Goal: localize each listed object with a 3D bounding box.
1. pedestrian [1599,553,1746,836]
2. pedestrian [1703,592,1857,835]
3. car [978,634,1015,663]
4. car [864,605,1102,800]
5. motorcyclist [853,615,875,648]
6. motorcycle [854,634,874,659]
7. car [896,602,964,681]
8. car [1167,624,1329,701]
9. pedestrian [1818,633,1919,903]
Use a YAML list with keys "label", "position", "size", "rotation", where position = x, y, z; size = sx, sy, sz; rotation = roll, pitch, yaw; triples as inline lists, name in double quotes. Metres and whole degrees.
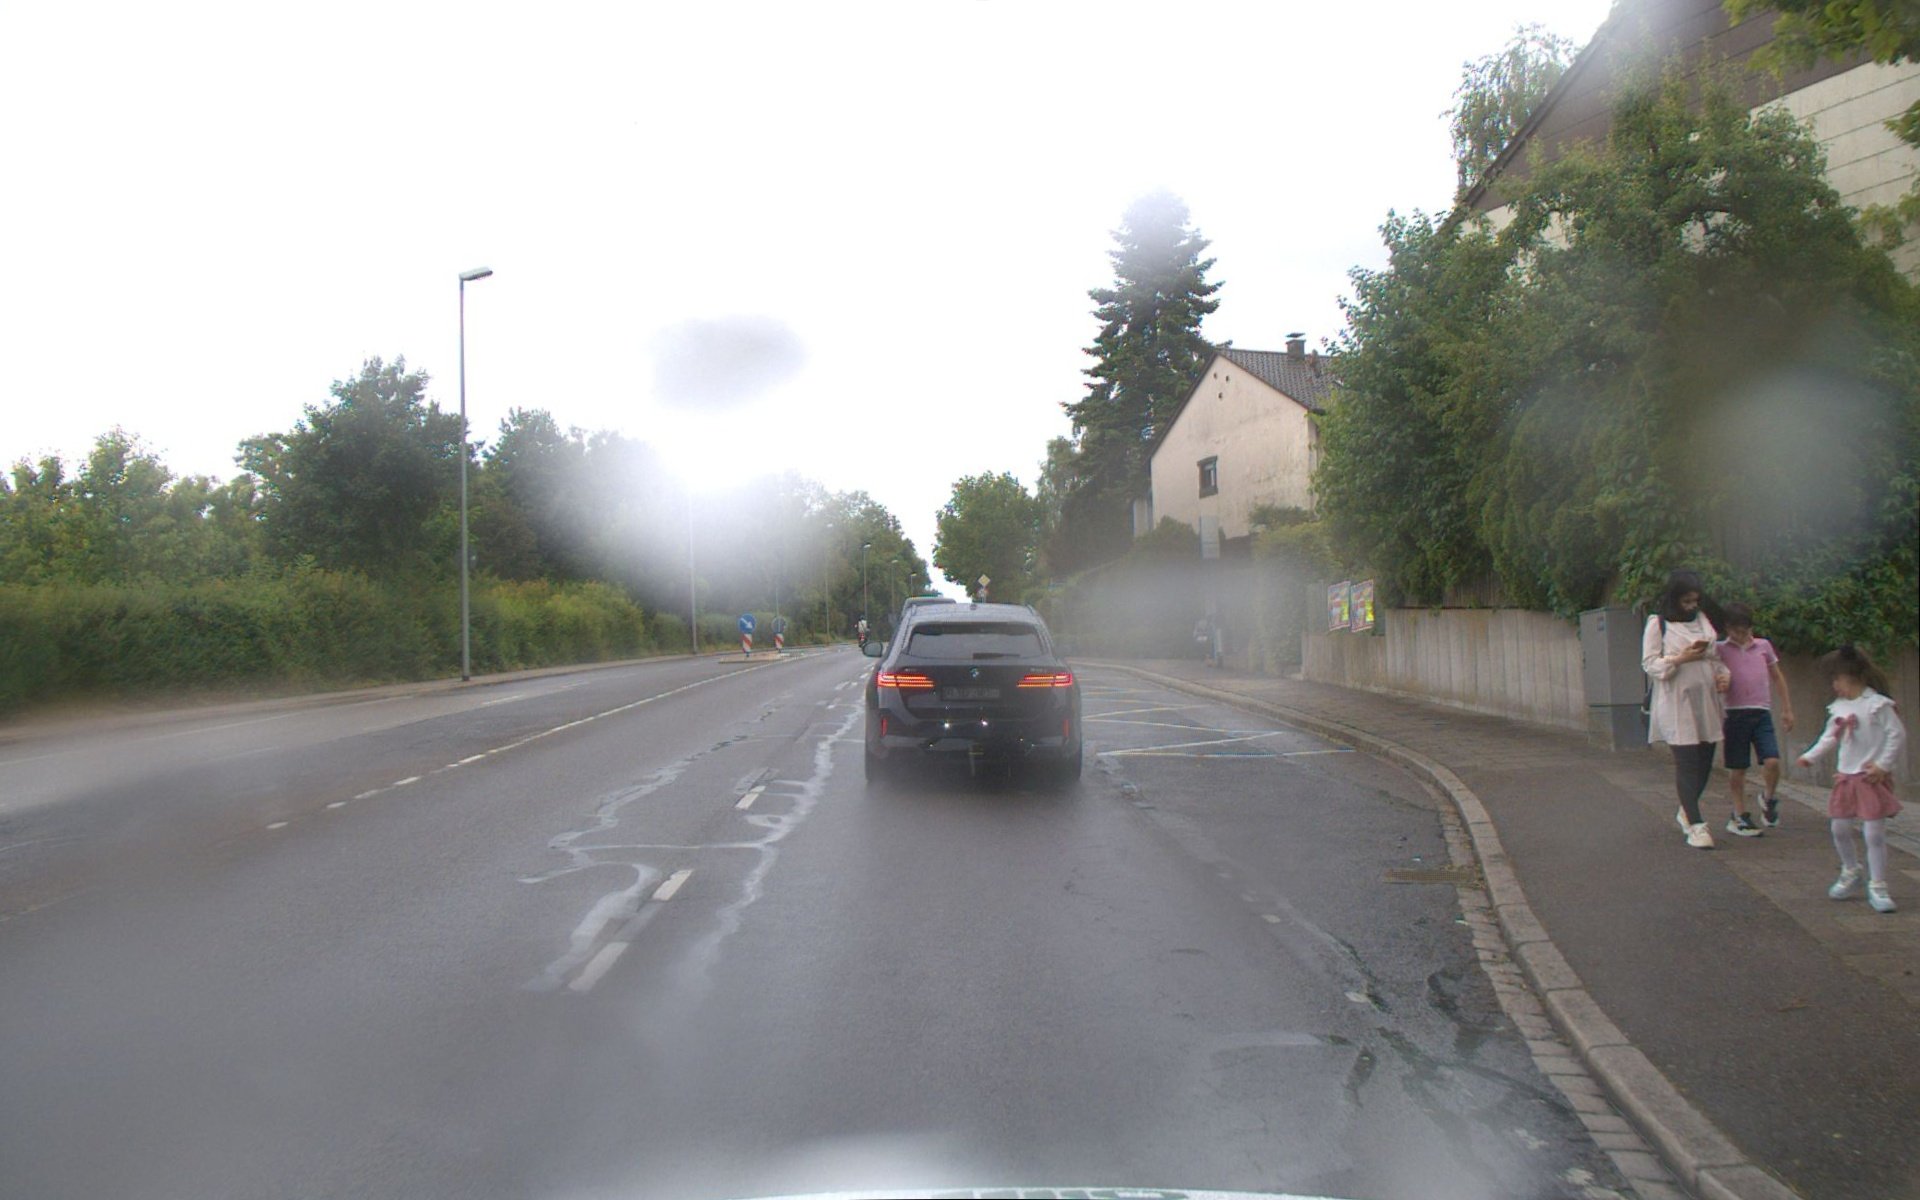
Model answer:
- label: "pedestrian"
  position: [4.238, 0.551, 9.871]
  size: [0.597, 1.621, 0.646]
  rotation: [-2, -1, 7]
- label: "pedestrian"
  position: [4.839, 0.655, 9.794]
  size: [0.589, 1.378, 0.646]
  rotation: [-2, -1, 7]
- label: "car"
  position: [1.988, 2.630, 89.382]
  size: [1.895, 1.467, 4.408]
  rotation: [-2, -1, 1]
- label: "car"
  position: [0.181, 0.854, 15.008]
  size: [1.858, 1.515, 3.999]
  rotation: [1, -1, 0]
- label: "motorcyclist"
  position: [-4.573, 1.509, 79.109]
  size: [1.018, 1.595, 0.854]
  rotation: [0, -2, -2]
- label: "motorcycle"
  position: [-4.579, 2.233, 79.022]
  size: [0.858, 1.144, 2.740]
  rotation: [0, -2, -1]
- label: "car"
  position: [-0.777, 1.040, 42.370]
  size: [1.596, 1.865, 3.999]
  rotation: [-2, -1, -1]
- label: "car"
  position: [7.396, 1.643, 42.514]
  size: [3.647, 1.320, 1.761]
  rotation: [12, -7, -21]
- label: "pedestrian"
  position: [4.127, 0.740, 7.408]
  size: [0.359, 1.166, 0.366]
  rotation: [-2, -1, 7]
